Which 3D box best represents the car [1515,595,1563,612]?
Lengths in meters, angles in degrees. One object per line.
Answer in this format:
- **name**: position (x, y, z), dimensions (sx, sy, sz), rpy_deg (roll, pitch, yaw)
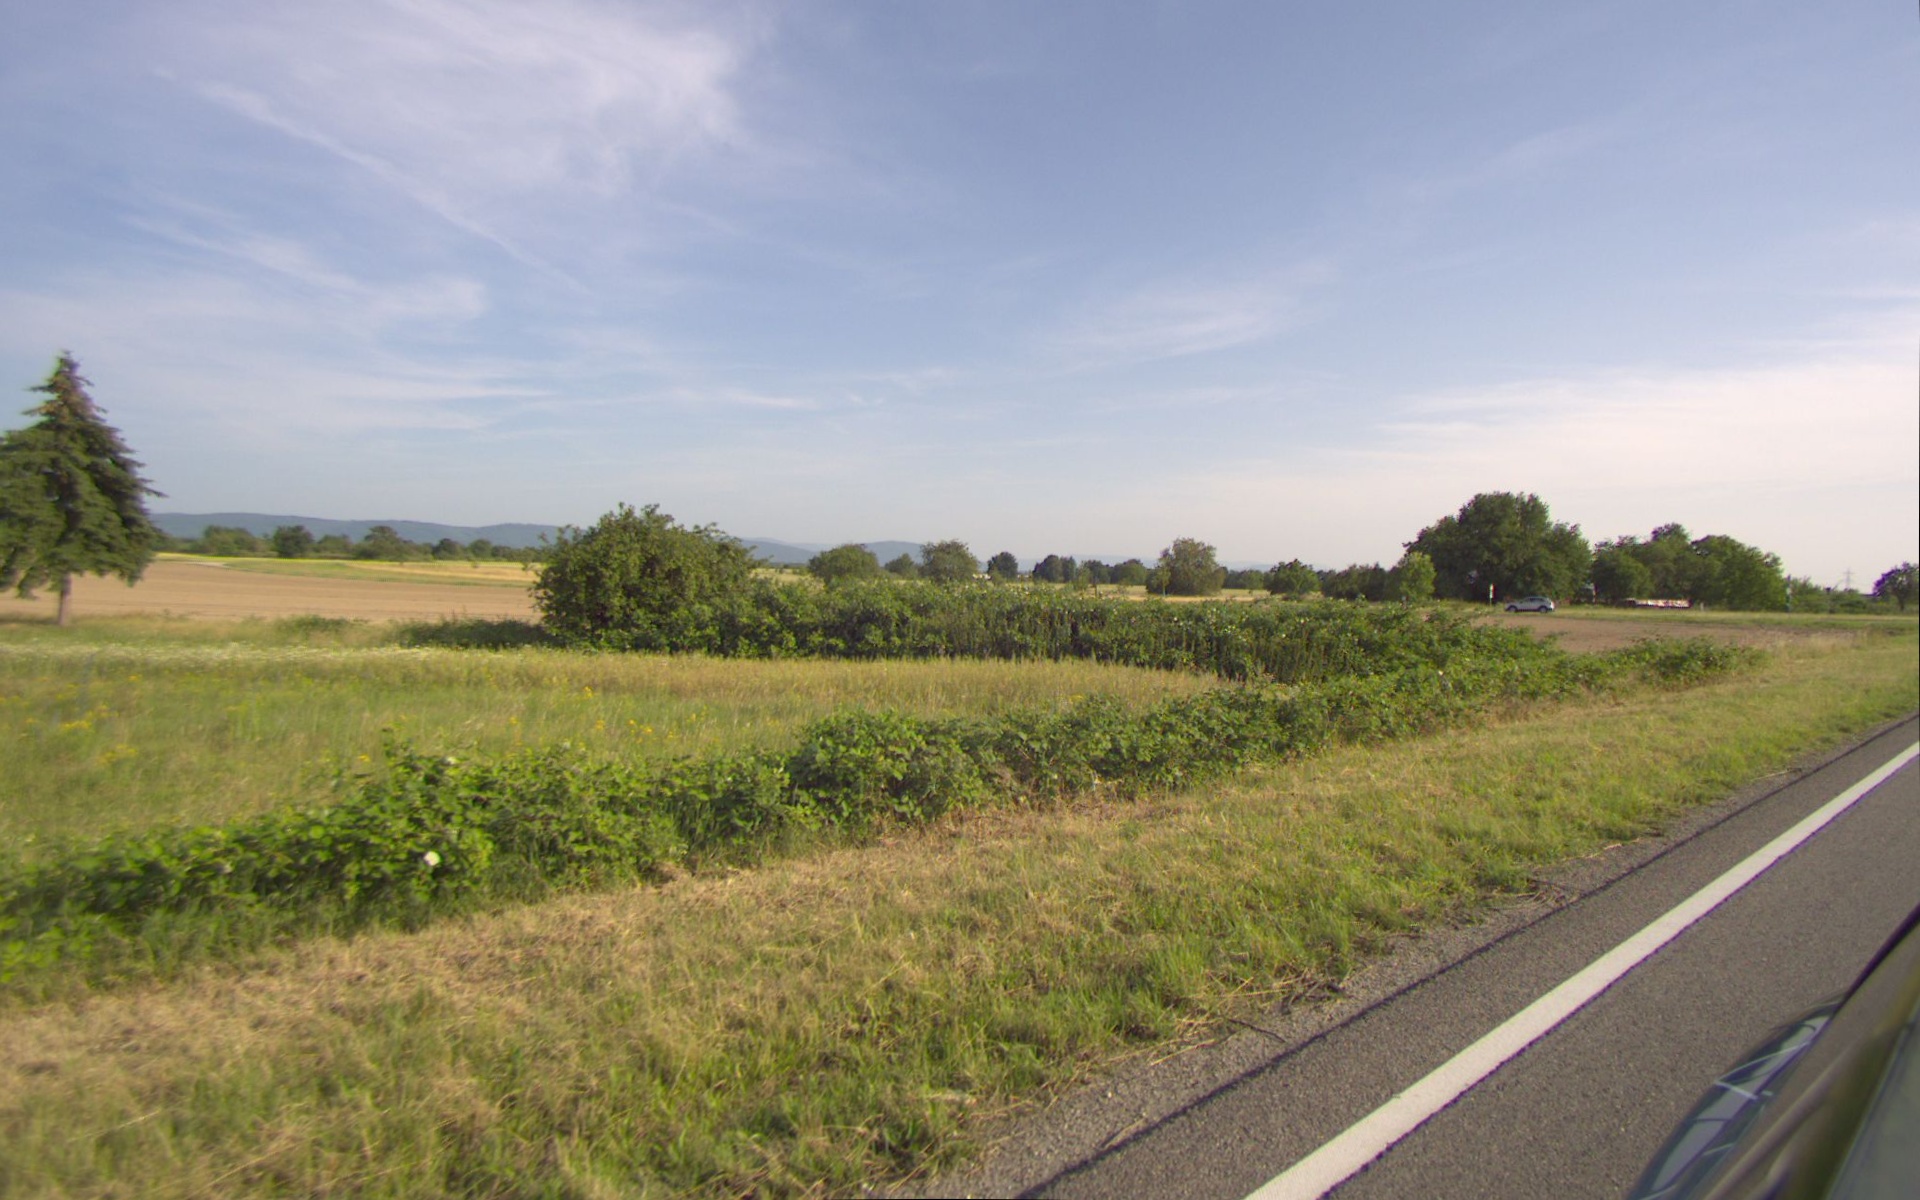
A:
- **car**: position (57.119, 0.315, 99.860), dimensions (3.974, 1.672, 1.975), rpy_deg (0, 0, 35)
